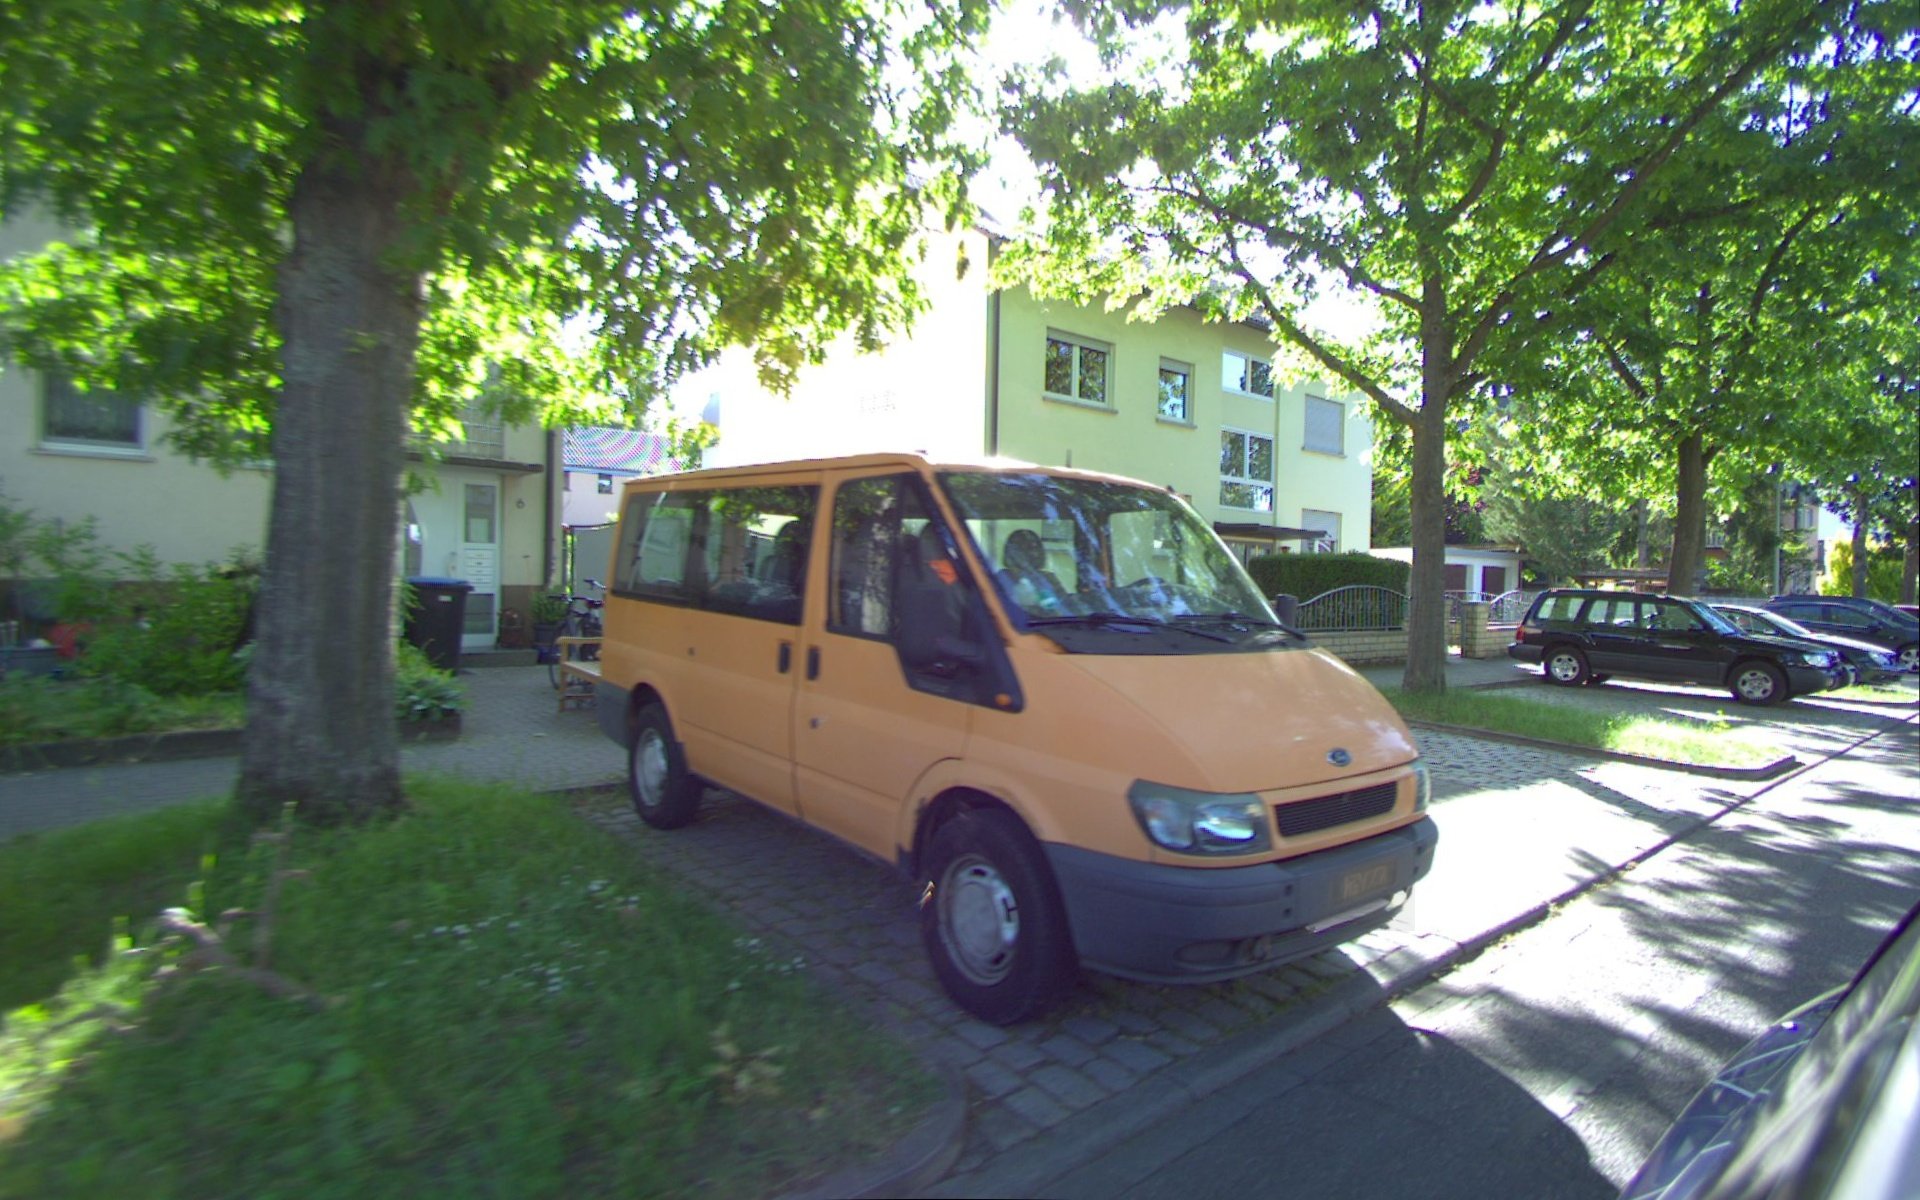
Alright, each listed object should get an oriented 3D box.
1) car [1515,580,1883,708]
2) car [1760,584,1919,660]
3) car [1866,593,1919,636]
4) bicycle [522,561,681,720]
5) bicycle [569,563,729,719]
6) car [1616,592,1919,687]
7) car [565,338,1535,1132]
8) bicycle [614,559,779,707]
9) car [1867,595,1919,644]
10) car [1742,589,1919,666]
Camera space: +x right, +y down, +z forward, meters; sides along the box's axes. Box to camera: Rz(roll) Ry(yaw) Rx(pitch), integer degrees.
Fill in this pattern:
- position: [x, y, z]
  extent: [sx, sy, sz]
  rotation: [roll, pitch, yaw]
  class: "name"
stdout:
- position: [11.461, 0.563, 15.964]
  extent: [1.835, 1.579, 4.347]
  rotation: [0, 3, -41]
  class: "car"
- position: [23.252, 0.556, 25.444]
  extent: [1.805, 1.666, 4.585]
  rotation: [0, 3, -39]
  class: "car"
- position: [35.472, 0.594, 36.017]
  extent: [1.804, 1.463, 4.516]
  rotation: [1, 3, -38]
  class: "car"
- position: [-3.494, 0.296, 9.650]
  extent: [0.459, 1.252, 2.866]
  rotation: [1, 3, -39]
  class: "bicycle"
- position: [-3.154, 0.310, 10.005]
  extent: [0.459, 1.252, 2.866]
  rotation: [0, 4, -39]
  class: "bicycle"
- position: [15.342, 0.656, 19.288]
  extent: [1.659, 1.347, 4.442]
  rotation: [1, 3, -37]
  class: "car"
- position: [-0.128, 0.177, 5.183]
  extent: [2.049, 2.108, 4.832]
  rotation: [1, 4, -40]
  class: "car"
- position: [-2.755, 0.248, 10.273]
  extent: [0.459, 1.252, 2.866]
  rotation: [0, 3, -39]
  class: "bicycle"
- position: [32.109, 0.682, 32.761]
  extent: [1.723, 1.502, 3.788]
  rotation: [-1, 3, -38]
  class: "car"
- position: [21.184, 0.626, 23.605]
  extent: [1.808, 1.548, 4.330]
  rotation: [1, 3, -40]
  class: "car"
